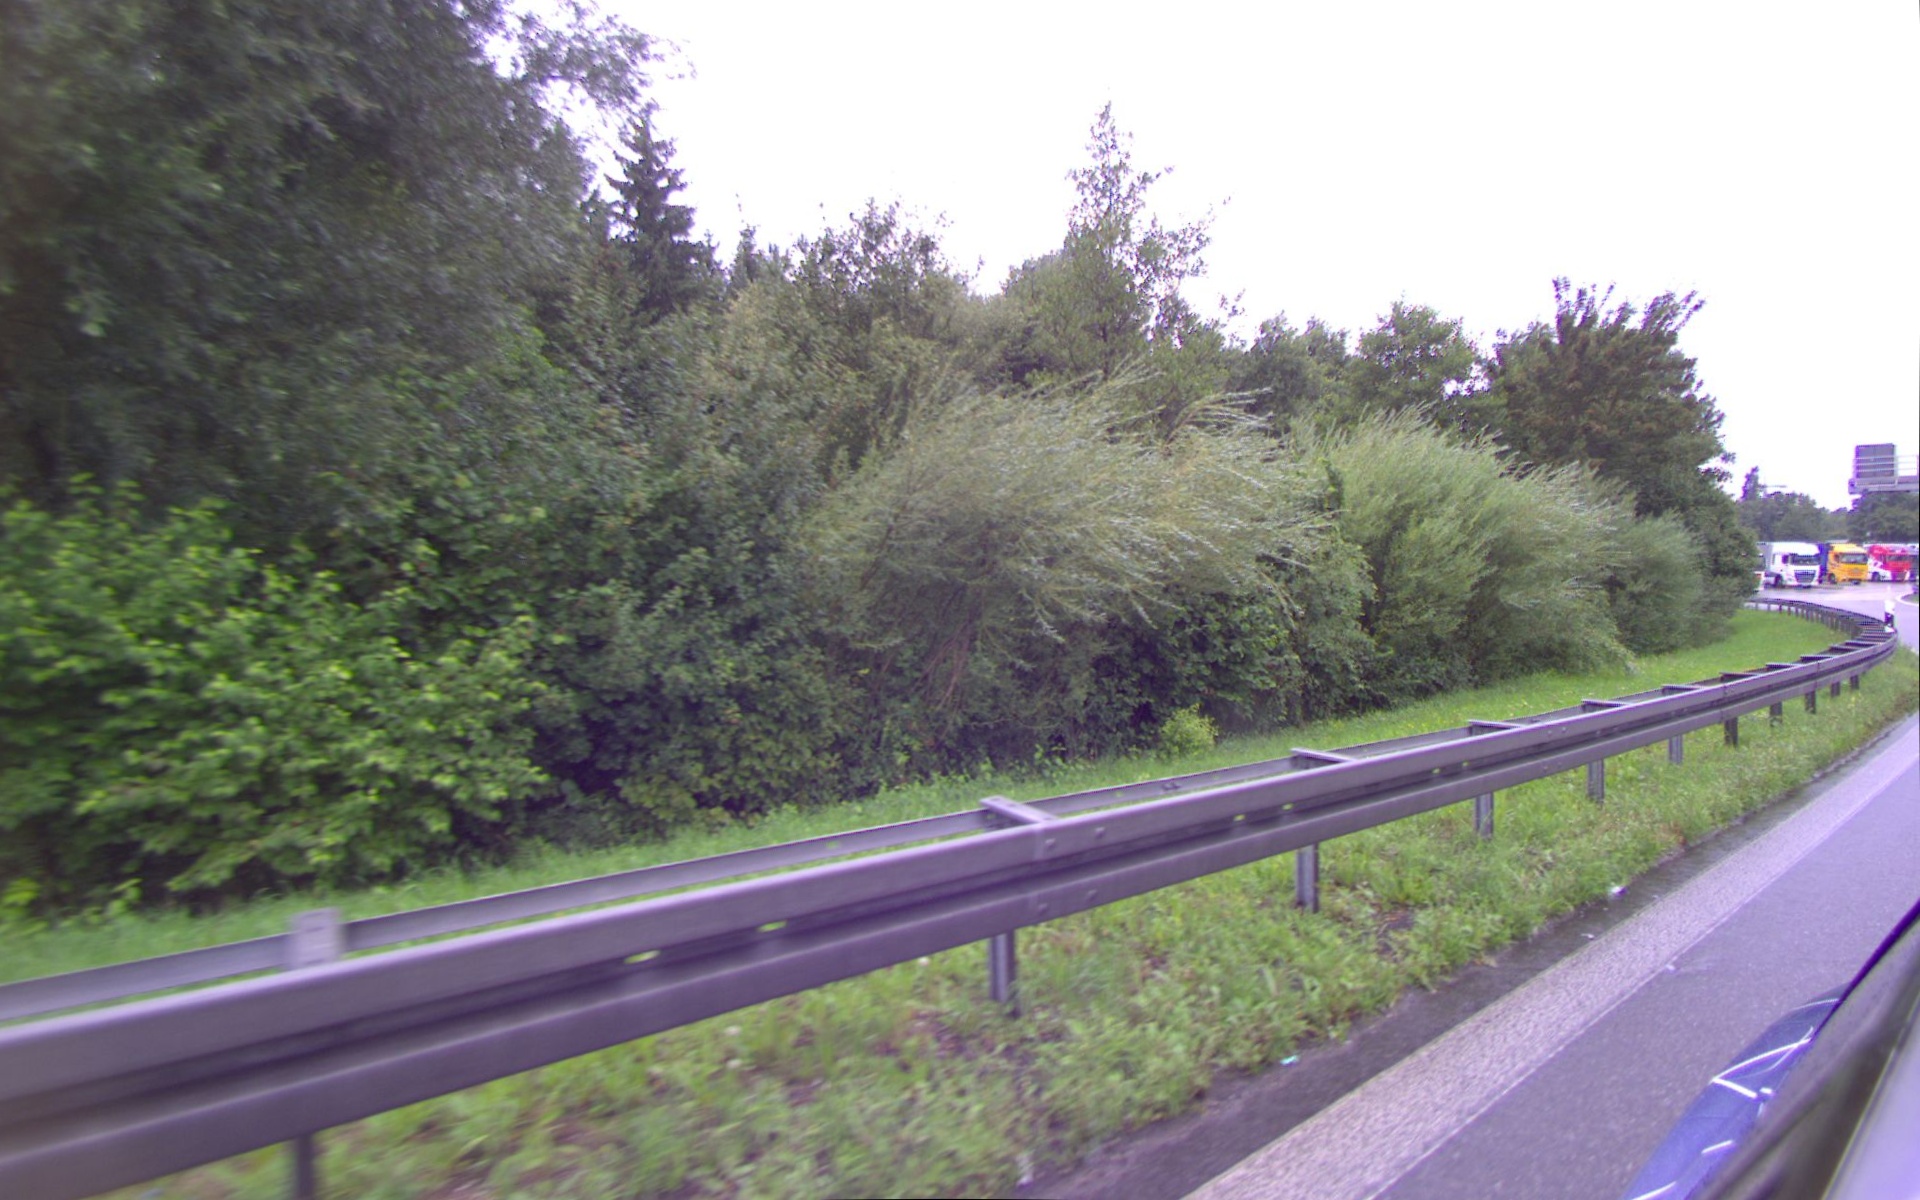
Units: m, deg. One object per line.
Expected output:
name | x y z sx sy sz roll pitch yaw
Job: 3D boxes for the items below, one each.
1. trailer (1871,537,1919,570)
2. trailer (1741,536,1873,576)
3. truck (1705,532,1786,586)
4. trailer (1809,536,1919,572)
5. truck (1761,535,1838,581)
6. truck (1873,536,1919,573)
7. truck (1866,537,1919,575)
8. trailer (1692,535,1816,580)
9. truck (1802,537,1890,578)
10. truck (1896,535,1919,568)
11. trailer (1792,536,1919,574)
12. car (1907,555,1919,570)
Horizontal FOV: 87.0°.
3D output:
trailer | 130.933 -6.327 137.286 3.190 4.440 14.375 -1 2 7
trailer | 89.711 -4.792 107.897 2.823 3.966 16.593 0 3 10
truck | 62.458 -3.302 80.631 2.781 4.195 5.291 0 3 10
trailer | 105.050 -5.376 117.320 2.827 3.966 13.918 0 3 7
truck | 74.433 -3.747 89.856 2.784 3.960 5.400 0 2 9
truck | 104.289 -4.976 110.951 2.850 3.966 6.547 0 3 7
truck | 100.463 -4.752 107.962 3.191 3.966 5.015 0 3 7
trailer | 75.532 -4.187 96.819 2.798 3.966 13.926 0 3 9
truck | 88.506 -4.330 101.350 2.795 3.966 8.109 0 3 11
truck | 122.121 -6.085 126.649 3.191 4.140 7.928 0 3 7
trailer | 101.269 -5.149 114.647 3.190 3.966 14.811 0 3 7
car | 117.255 -4.528 122.480 1.818 1.881 3.991 0 2 9
